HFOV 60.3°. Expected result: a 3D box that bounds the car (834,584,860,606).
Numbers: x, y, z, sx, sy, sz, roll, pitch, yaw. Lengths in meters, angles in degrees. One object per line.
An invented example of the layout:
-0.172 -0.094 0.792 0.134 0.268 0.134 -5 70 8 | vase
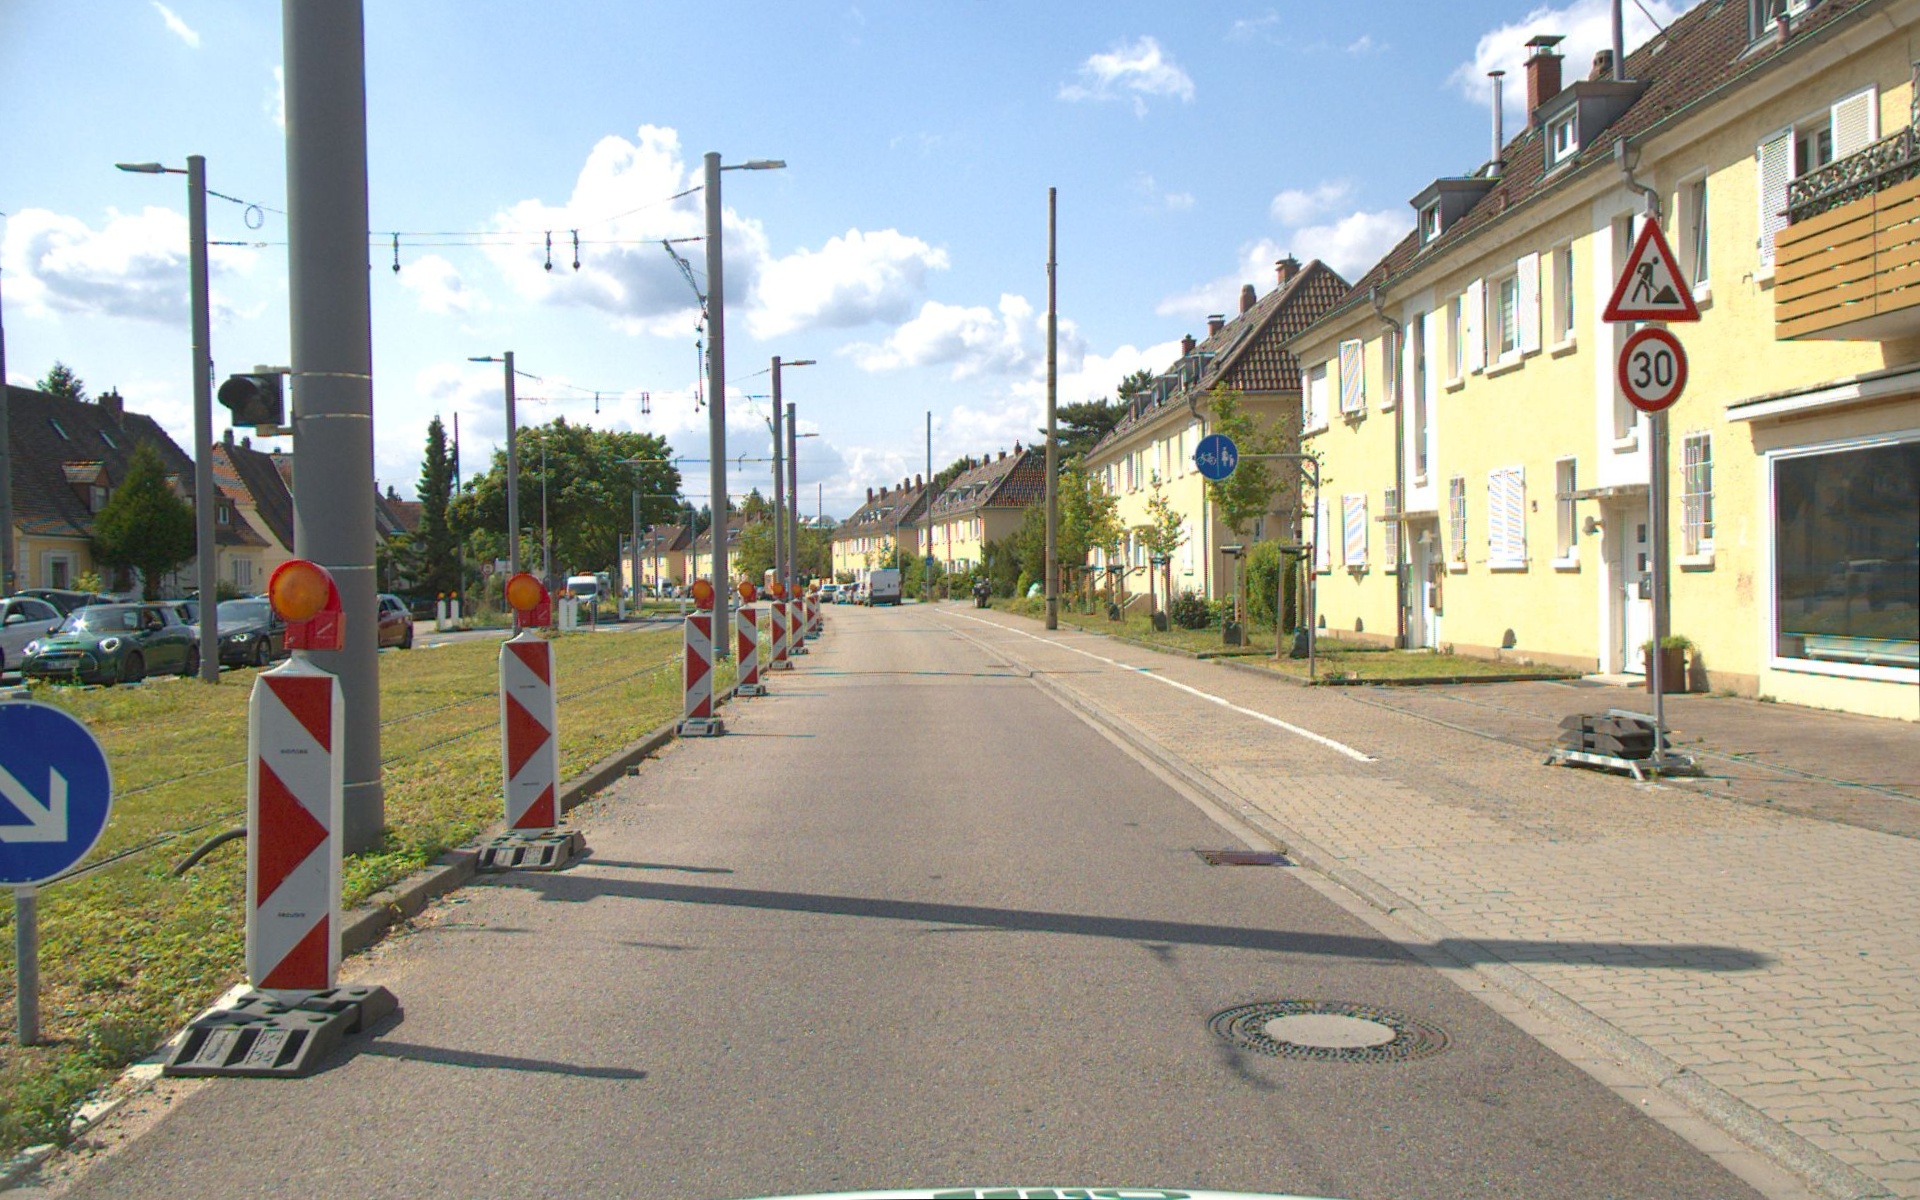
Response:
-8.528 -0.398 124.972 1.539 1.578 3.780 -2 1 -10 | car

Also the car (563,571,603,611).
-23.749 -0.567 104.156 2.366 2.379 4.862 -2 1 -13 | car

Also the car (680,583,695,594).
-34.558 -1.440 209.810 1.240 1.374 2.646 -2 1 -23 | car

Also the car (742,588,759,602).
-22.559 -0.495 178.338 1.239 1.451 2.650 -2 1 -20 | car

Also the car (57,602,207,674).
-19.430 0.860 38.996 1.807 1.520 3.653 -2 1 -3 | car

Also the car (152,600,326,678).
-15.147 0.766 35.048 1.807 1.438 4.912 -2 1 -4 | car

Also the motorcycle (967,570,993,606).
0.937 -0.581 79.091 1.045 1.664 2.082 -2 0 -4 | motorcycle

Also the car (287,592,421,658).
-15.314 0.587 42.054 1.807 1.520 4.853 -2 1 -3 | car

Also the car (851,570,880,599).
-6.536 -1.053 114.349 1.539 1.930 3.780 -2 1 -10 | car

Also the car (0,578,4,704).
-14.582 0.638 21.753 1.699 1.813 4.401 -2 1 -4 | car

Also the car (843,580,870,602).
-7.474 -0.661 119.546 1.539 1.578 3.780 -2 1 -10 | car

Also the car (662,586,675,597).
-38.354 -1.124 217.696 1.151 1.451 2.645 -2 1 -24 | car

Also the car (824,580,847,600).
-10.317 -0.825 136.910 1.539 1.578 3.470 -2 1 -10 | car

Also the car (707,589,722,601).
-29.496 -0.593 198.387 1.240 1.451 2.648 -2 1 -21 | car

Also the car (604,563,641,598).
-23.748 -1.383 116.348 2.366 2.411 4.862 -2 1 -13 | car

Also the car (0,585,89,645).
-28.361 0.426 49.808 3.319 1.622 1.603 4 0 -5 | car

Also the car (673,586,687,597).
-36.191 -1.080 213.580 1.240 1.374 2.646 -2 1 -23 | car

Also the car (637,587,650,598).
-44.408 -1.094 231.914 1.241 1.451 2.644 -2 1 -25 | car

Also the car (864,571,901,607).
-4.951 -0.716 104.784 2.026 2.186 4.872 -2 1 -6 | car

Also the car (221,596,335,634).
-29.142 0.622 70.723 4.026 1.492 1.990 -2 1 -4 | car

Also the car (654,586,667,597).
-40.137 -1.176 221.774 1.151 1.451 2.645 -2 1 -24 | car

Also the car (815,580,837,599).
-11.596 -0.876 143.013 1.539 1.578 3.470 -2 1 -10 | car

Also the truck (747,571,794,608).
-19.087 -1.071 166.051 2.601 3.555 9.383 -2 1 -19 | truck

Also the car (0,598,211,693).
-14.665 0.724 28.531 1.877 1.443 3.997 -2 1 -4 | car

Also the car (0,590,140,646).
-28.783 0.573 53.240 3.876 1.517 1.603 4 0 -5 | car

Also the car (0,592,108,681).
-19.451 0.722 33.955 1.807 1.698 4.502 -2 1 -4 | car
